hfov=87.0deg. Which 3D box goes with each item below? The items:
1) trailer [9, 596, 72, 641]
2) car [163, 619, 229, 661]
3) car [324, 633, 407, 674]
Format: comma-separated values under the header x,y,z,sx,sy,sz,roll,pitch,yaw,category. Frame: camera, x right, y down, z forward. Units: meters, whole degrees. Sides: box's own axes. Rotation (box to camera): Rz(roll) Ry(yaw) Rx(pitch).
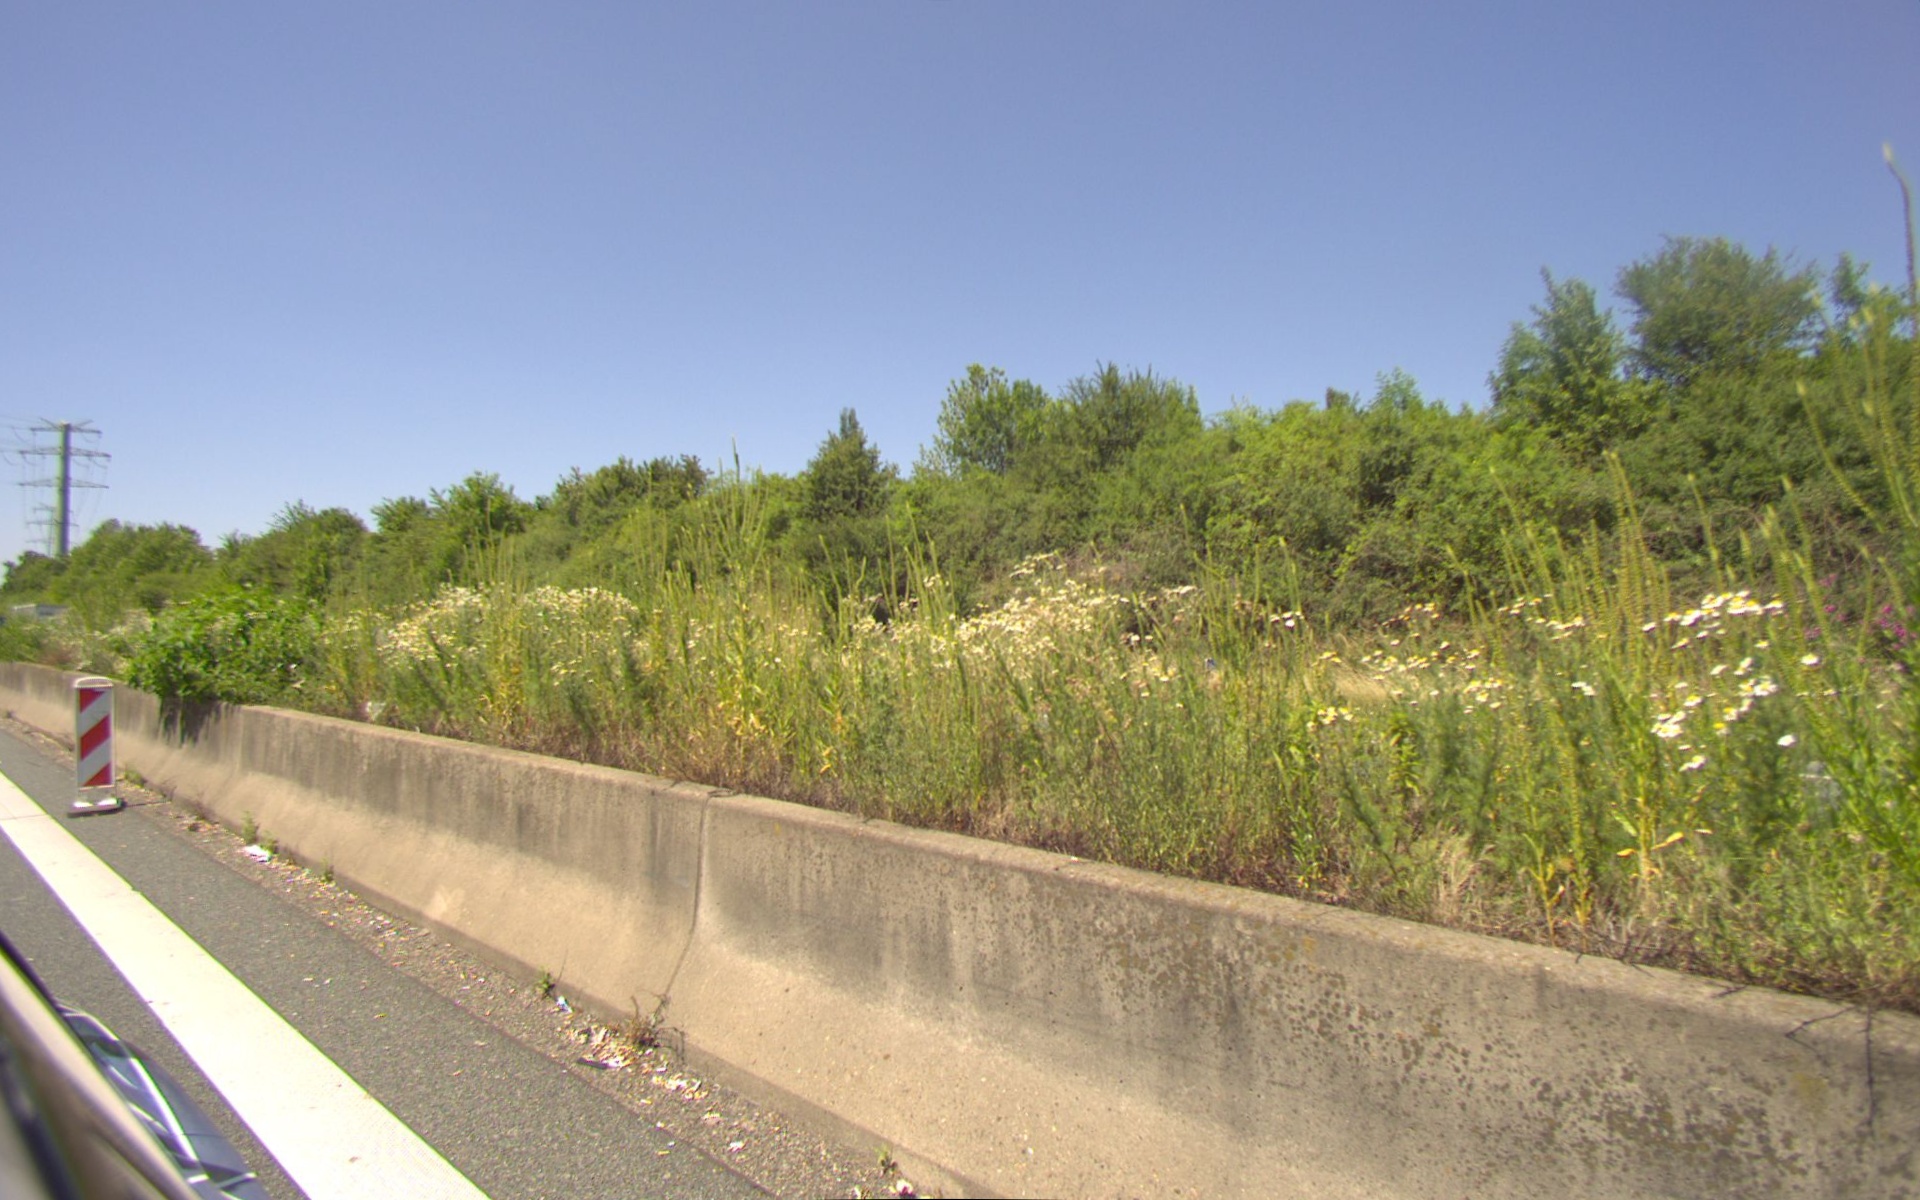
x,y,z,sx,sy,sz,roll,pitch,yaw,category
-92.311,1.923,101.487,14.014,4.199,2.984,-1,-5,42,trailer
-35.858,1.844,47.466,3.998,1.877,1.685,-2,-3,41,car
-23.423,2.077,39.824,3.998,1.515,1.653,-2,-3,41,car
